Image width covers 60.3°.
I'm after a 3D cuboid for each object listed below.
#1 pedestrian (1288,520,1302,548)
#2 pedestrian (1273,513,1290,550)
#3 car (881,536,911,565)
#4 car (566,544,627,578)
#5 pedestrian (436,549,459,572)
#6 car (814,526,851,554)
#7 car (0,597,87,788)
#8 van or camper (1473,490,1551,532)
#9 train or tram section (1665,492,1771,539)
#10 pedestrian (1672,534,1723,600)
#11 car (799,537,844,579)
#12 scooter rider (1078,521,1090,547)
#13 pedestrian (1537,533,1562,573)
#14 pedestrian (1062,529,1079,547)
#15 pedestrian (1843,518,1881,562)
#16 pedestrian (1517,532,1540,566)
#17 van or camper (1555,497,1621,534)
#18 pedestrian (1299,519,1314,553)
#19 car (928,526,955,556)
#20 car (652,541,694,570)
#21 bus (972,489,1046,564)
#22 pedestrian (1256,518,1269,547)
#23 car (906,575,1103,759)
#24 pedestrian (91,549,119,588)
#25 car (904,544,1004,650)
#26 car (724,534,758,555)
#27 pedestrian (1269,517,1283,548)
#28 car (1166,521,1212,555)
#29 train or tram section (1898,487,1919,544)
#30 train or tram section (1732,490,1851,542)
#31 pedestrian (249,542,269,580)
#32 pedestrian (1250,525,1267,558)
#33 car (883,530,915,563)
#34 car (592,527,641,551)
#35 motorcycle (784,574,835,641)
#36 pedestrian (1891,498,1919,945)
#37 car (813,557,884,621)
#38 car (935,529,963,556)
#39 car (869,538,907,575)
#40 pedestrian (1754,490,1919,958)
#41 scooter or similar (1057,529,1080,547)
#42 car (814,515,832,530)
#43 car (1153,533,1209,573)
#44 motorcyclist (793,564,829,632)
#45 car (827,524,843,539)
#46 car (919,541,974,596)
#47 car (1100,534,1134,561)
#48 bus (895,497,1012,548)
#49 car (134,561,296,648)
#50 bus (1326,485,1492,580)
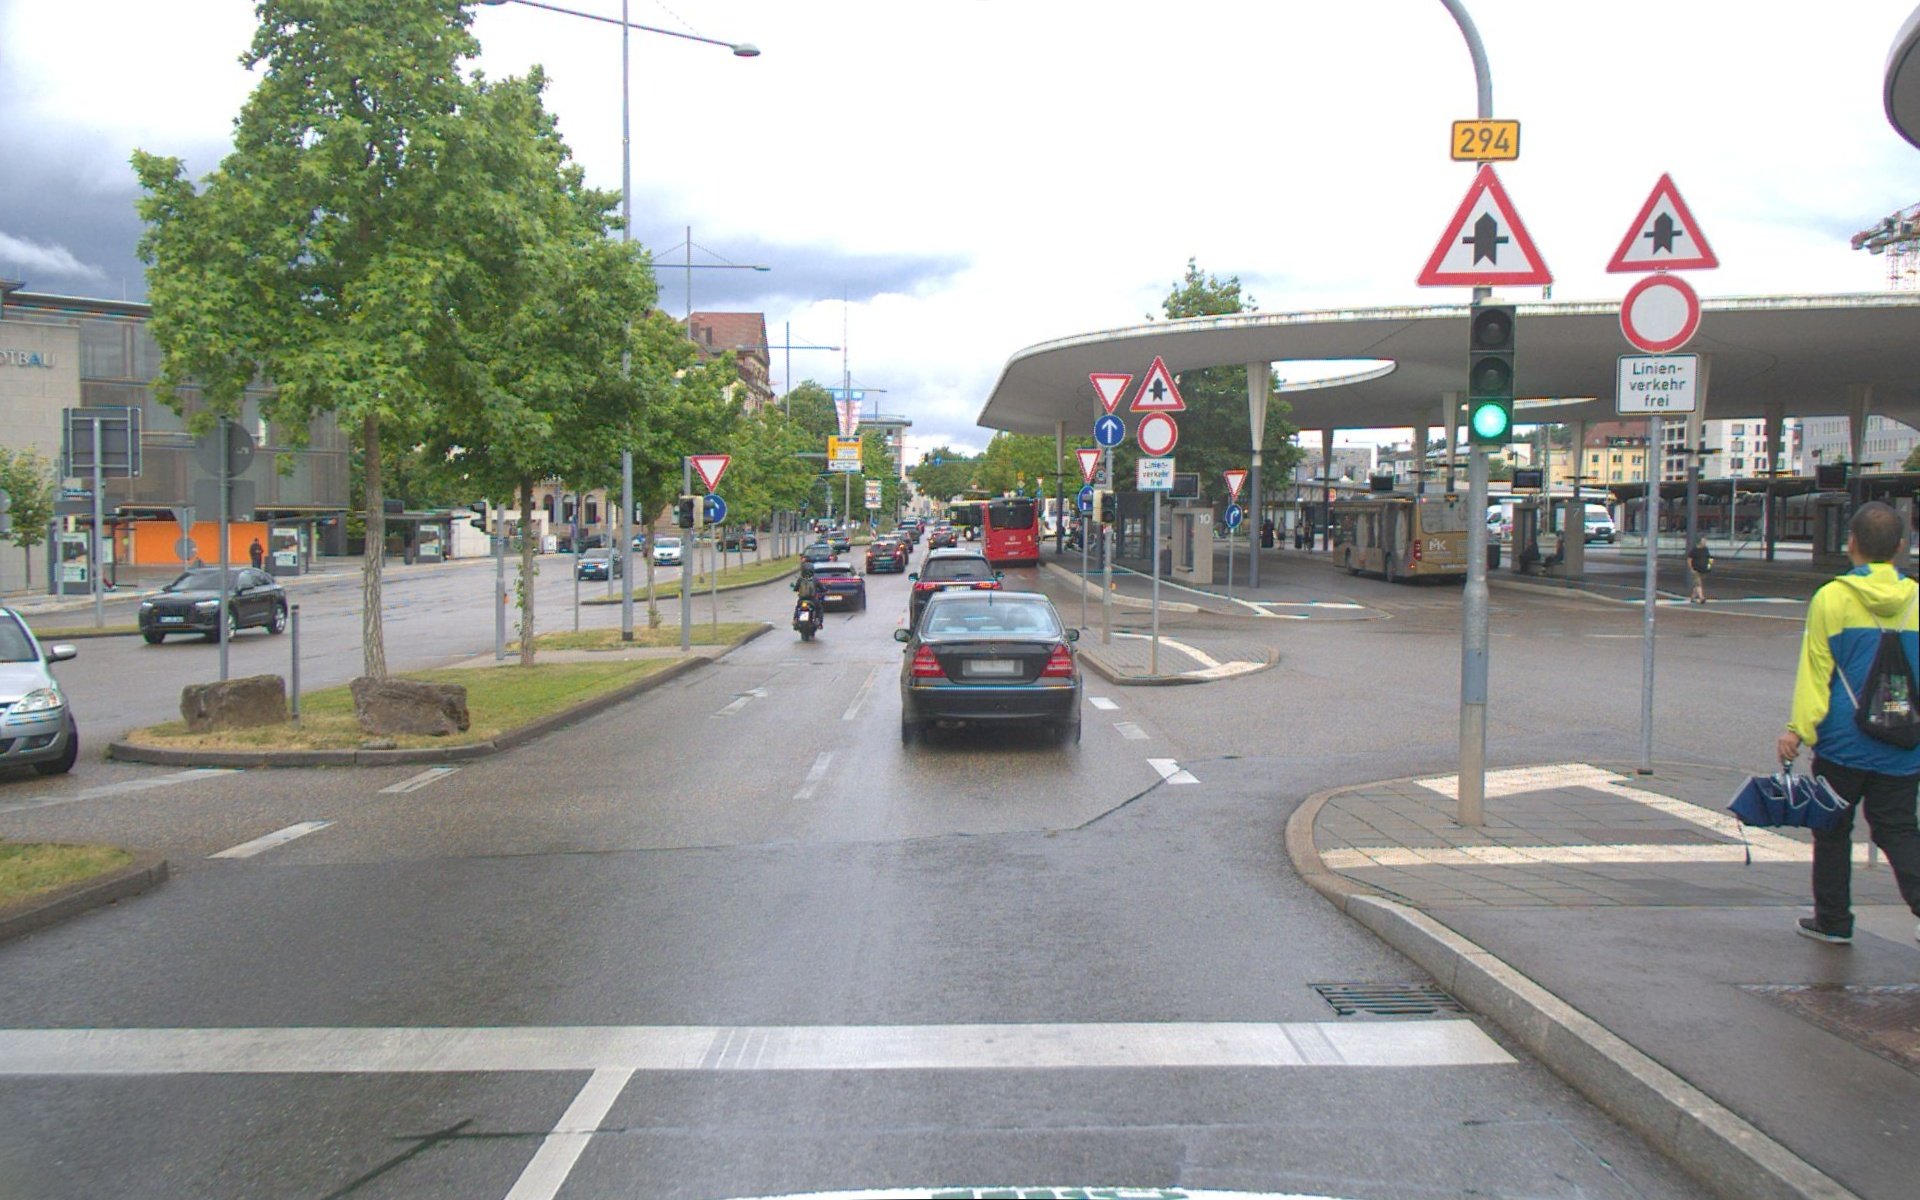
[{"bbox_3d":[19.677,-3.856,97.105,0.569,1.605,0.559,2,-1,34],"label":"pedestrian"},{"bbox_3d":[18.169,-3.874,93.460,0.709,2.049,0.669,2,-1,25],"label":"pedestrian"},{"bbox_3d":[-4.148,-3.211,107.765,1.828,1.713,3.999,3,0,-1],"label":"car"},{"bbox_3d":[-17.613,-1.907,80.363,1.809,1.530,4.921,-1,2,0],"label":"car"},{"bbox_3d":[-31.188,-2.423,100.687,0.955,1.289,0.850,4,4,20],"label":"pedestrian"},{"bbox_3d":[-8.817,-4.122,114.194,1.835,1.713,3.984,3,0,-15],"label":"car"},{"bbox_3d":[-8.782,0.761,14.409,1.618,1.473,3.829,-3,1,-34],"label":"car"},{"bbox_3d":[37.844,-6.068,113.425,4.515,2.602,2.118,2,1,-2],"label":"van or camper"},{"bbox_3d":[65.231,-7.276,142.737,3.068,3.722,12.324,3,3,-1],"label":"train or tram section"},{"bbox_3d":[19.519,-0.878,43.791,0.709,1.713,1.013,-3,3,-26],"label":"pedestrian"},{"bbox_3d":[-6.138,-1.887,73.636,1.642,1.651,3.872,-3,3,-1],"label":"car"},{"bbox_3d":[7.216,-3.843,96.280,0.579,1.515,0.765,0,2,13],"label":"scooter rider"},{"bbox_3d":[20.821,-1.656,58.399,0.776,1.401,0.634,0,2,16],"label":"pedestrian"},{"bbox_3d":[6.439,-3.592,96.401,0.894,1.002,0.634,1,-1,13],"label":"pedestrian"},{"bbox_3d":[33.214,-2.213,60.913,0.779,1.613,0.907,1,1,-7],"label":"pedestrian"},{"bbox_3d":[20.845,-1.875,60.644,0.776,1.247,0.634,0,2,16],"label":"pedestrian"},{"bbox_3d":[40.470,-5.395,106.715,1.953,2.139,5.479,2,1,-1],"label":"van or camper"},{"bbox_3d":[17.720,-3.271,84.540,0.549,1.721,0.613,0,3,-8],"label":"pedestrian"},{"bbox_3d":[-1.104,-3.520,98.452,1.543,1.594,3.872,-3,3,-1],"label":"car"},{"bbox_3d":[-17.442,-2.747,100.654,1.809,1.681,4.419,-1,2,-1],"label":"car"},{"bbox_3d":[2.298,-3.670,81.633,3.219,3.348,10.881,-1,3,0],"label":"bus"},{"bbox_3d":[17.724,-3.945,96.832,0.568,1.605,0.560,2,-1,29],"label":"pedestrian"},{"bbox_3d":[0.340,0.543,16.410,1.663,1.487,4.303,-1,2,-1],"label":"car"},{"bbox_3d":[-31.907,-1.174,61.713,0.665,1.416,0.721,-1,2,-3],"label":"pedestrian"},{"bbox_3d":[-0.147,-0.146,35.427,1.918,1.908,4.874,-3,3,-1],"label":"car"},{"bbox_3d":[-16.973,-4.277,128.303,1.704,1.588,3.742,0,1,-23],"label":"car"},{"bbox_3d":[18.736,-3.998,97.955,0.569,1.746,0.559,2,-1,34],"label":"pedestrian"},{"bbox_3d":[11.815,-3.212,85.615,1.677,1.691,4.240,0,3,-2],"label":"car"},{"bbox_3d":[66.062,-5.443,107.581,3.068,3.741,11.616,3,3,-1],"label":"train or tram section"},{"bbox_3d":[65.530,-6.656,130.789,3.068,3.722,11.616,3,3,-2],"label":"train or tram section"},{"bbox_3d":[-31.543,-1.759,74.398,0.464,1.713,0.764,-1,2,6],"label":"pedestrian"},{"bbox_3d":[14.998,-2.940,83.181,0.587,1.609,0.710,-1,1,-10],"label":"pedestrian"},{"bbox_3d":[-3.192,-2.827,87.261,1.543,1.594,3.872,-3,3,-1],"label":"car"},{"bbox_3d":[-28.547,-5.069,137.513,3.551,1.836,1.648,3,-1,14],"label":"car"},{"bbox_3d":[-3.138,0.139,34.663,0.776,1.283,1.856,-2,3,3],"label":"motorcycle"},{"bbox_3d":[3.948,0.463,6.183,0.577,1.700,0.580,2,-2,-2],"label":"pedestrian"},{"bbox_3d":[-3.257,-0.374,48.984,1.779,1.597,4.405,-3,3,-1],"label":"car"},{"bbox_3d":[-0.791,-4.115,118.029,1.828,1.713,3.999,3,0,-1],"label":"car"},{"bbox_3d":[-3.332,-2.051,77.469,1.543,1.530,3.872,-3,3,0],"label":"car"},{"bbox_3d":[3.433,0.453,6.308,0.512,1.699,0.580,1,-1,-2],"label":"pedestrian"},{"bbox_3d":[6.354,-3.612,96.475,1.216,1.030,0.765,0,2,13],"label":"scooter or similar"},{"bbox_3d":[-15.133,-8.567,182.696,1.744,1.594,3.430,-3,3,-1],"label":"car"},{"bbox_3d":[8.675,-1.865,65.101,1.614,1.478,3.237,-1,3,-3],"label":"car"},{"bbox_3d":[-3.130,-0.044,34.717,0.628,1.370,0.689,-1,3,2],"label":"motorcyclist"},{"bbox_3d":[-14.270,-7.808,188.981,1.543,1.594,3.430,-3,3,-1],"label":"car"},{"bbox_3d":[-0.453,-1.082,54.526,1.706,1.594,3.872,-3,3,-1],"label":"car"},{"bbox_3d":[10.272,-3.480,108.546,1.677,1.691,4.240,0,3,-2],"label":"car"},{"bbox_3d":[-0.654,-6.296,136.035,2.820,4.056,11.694,-3,3,-39],"label":"bus"},{"bbox_3d":[-17.252,0.035,38.582,1.871,1.690,4.856,0,4,-4],"label":"car"},{"bbox_3d":[16.293,-2.530,61.089,2.666,3.096,12.090,-1,3,-1],"label":"bus"}]
